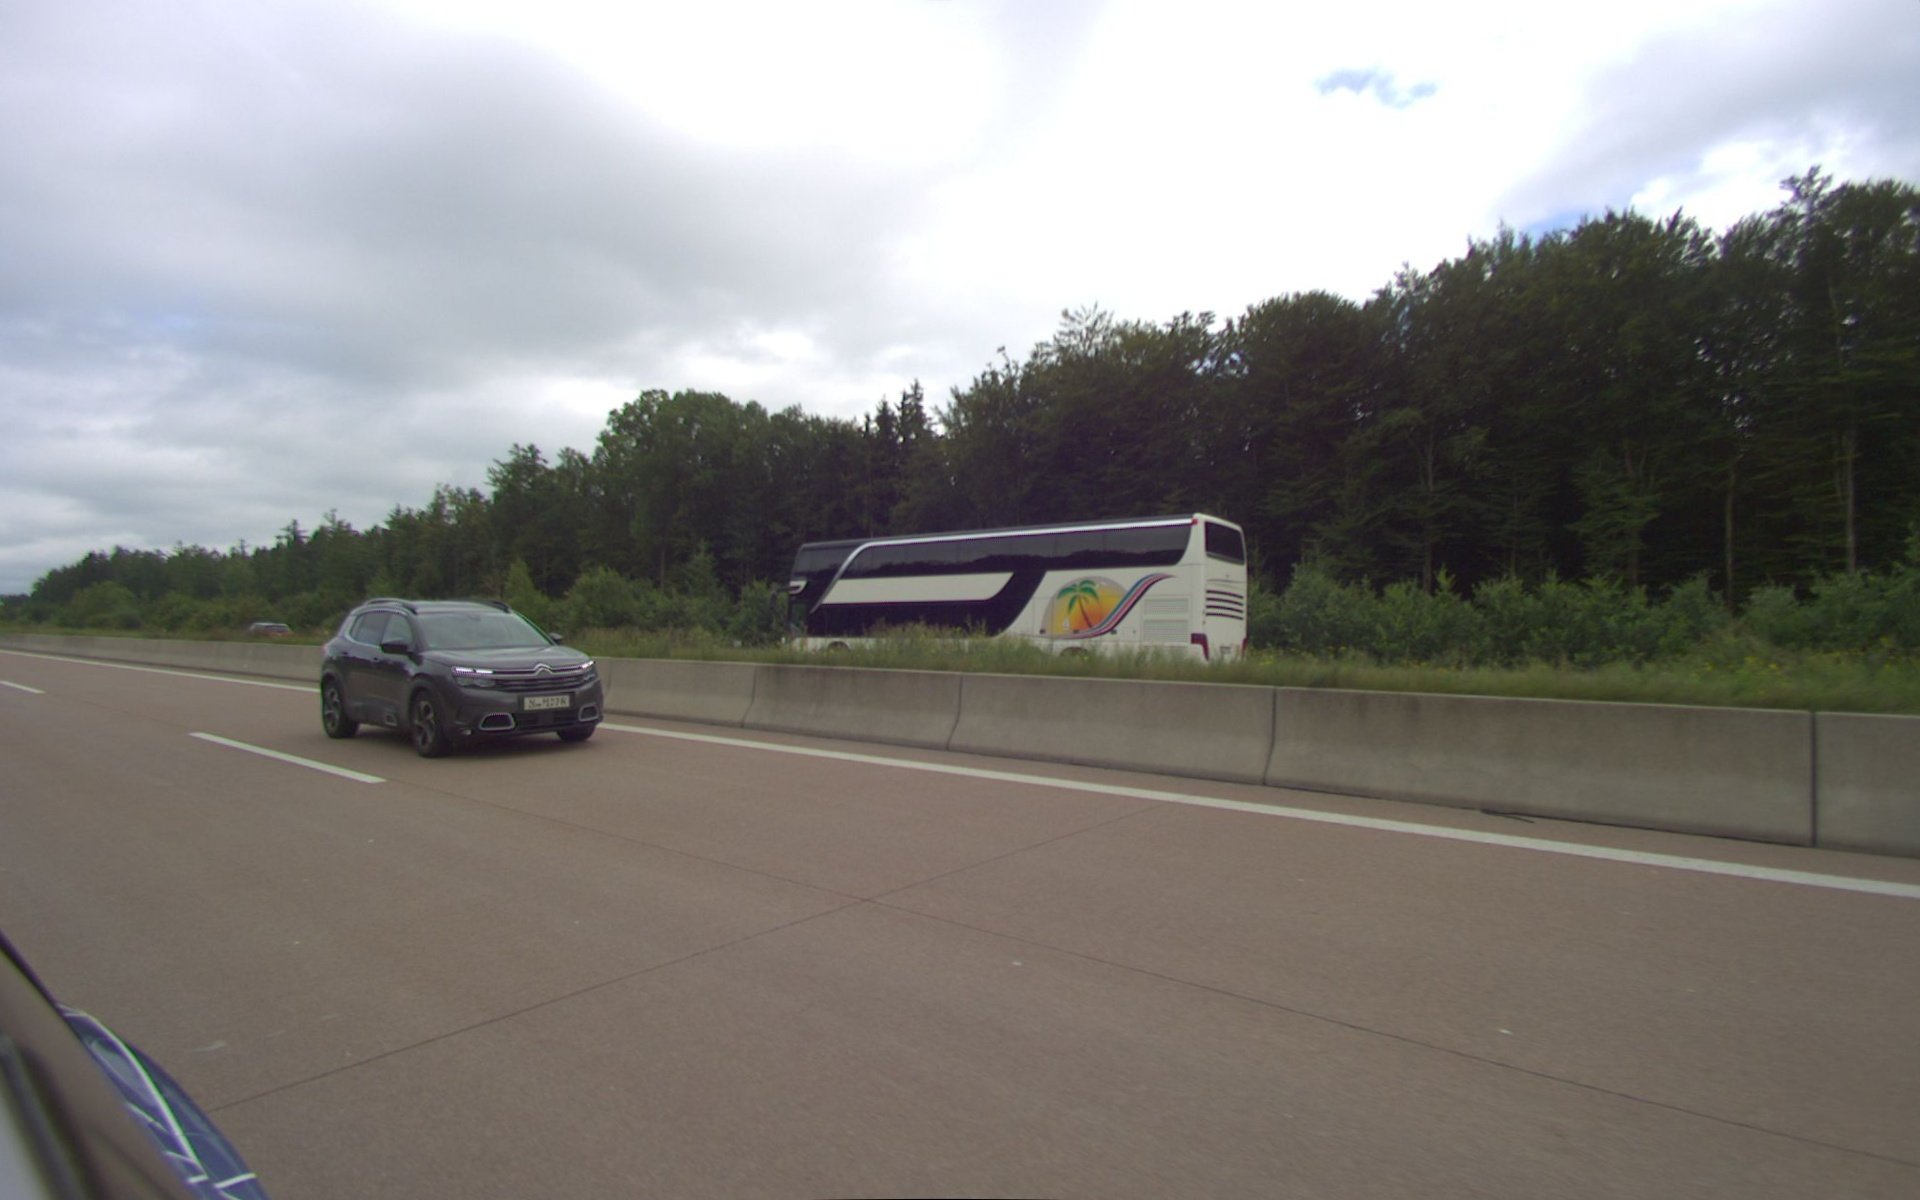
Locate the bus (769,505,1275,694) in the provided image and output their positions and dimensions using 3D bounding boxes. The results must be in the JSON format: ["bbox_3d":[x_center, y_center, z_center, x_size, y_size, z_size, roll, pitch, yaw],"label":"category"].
[{"bbox_3d":[0.776,0.121,26.762,14.349,3.918,3.018,-1,-1,40],"label":"bus"}]

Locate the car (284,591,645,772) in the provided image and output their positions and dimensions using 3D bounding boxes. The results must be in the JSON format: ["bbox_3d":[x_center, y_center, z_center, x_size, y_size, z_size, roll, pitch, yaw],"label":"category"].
[{"bbox_3d":[-6.071,0.813,12.043,5.249,1.711,1.973,-1,-1,41],"label":"car"}]

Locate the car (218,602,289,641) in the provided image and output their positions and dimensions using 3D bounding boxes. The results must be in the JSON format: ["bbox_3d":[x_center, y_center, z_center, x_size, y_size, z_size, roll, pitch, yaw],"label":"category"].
[{"bbox_3d":[-36.303,1.097,51.965,4.163,1.847,1.973,-1,1,41],"label":"car"}]
